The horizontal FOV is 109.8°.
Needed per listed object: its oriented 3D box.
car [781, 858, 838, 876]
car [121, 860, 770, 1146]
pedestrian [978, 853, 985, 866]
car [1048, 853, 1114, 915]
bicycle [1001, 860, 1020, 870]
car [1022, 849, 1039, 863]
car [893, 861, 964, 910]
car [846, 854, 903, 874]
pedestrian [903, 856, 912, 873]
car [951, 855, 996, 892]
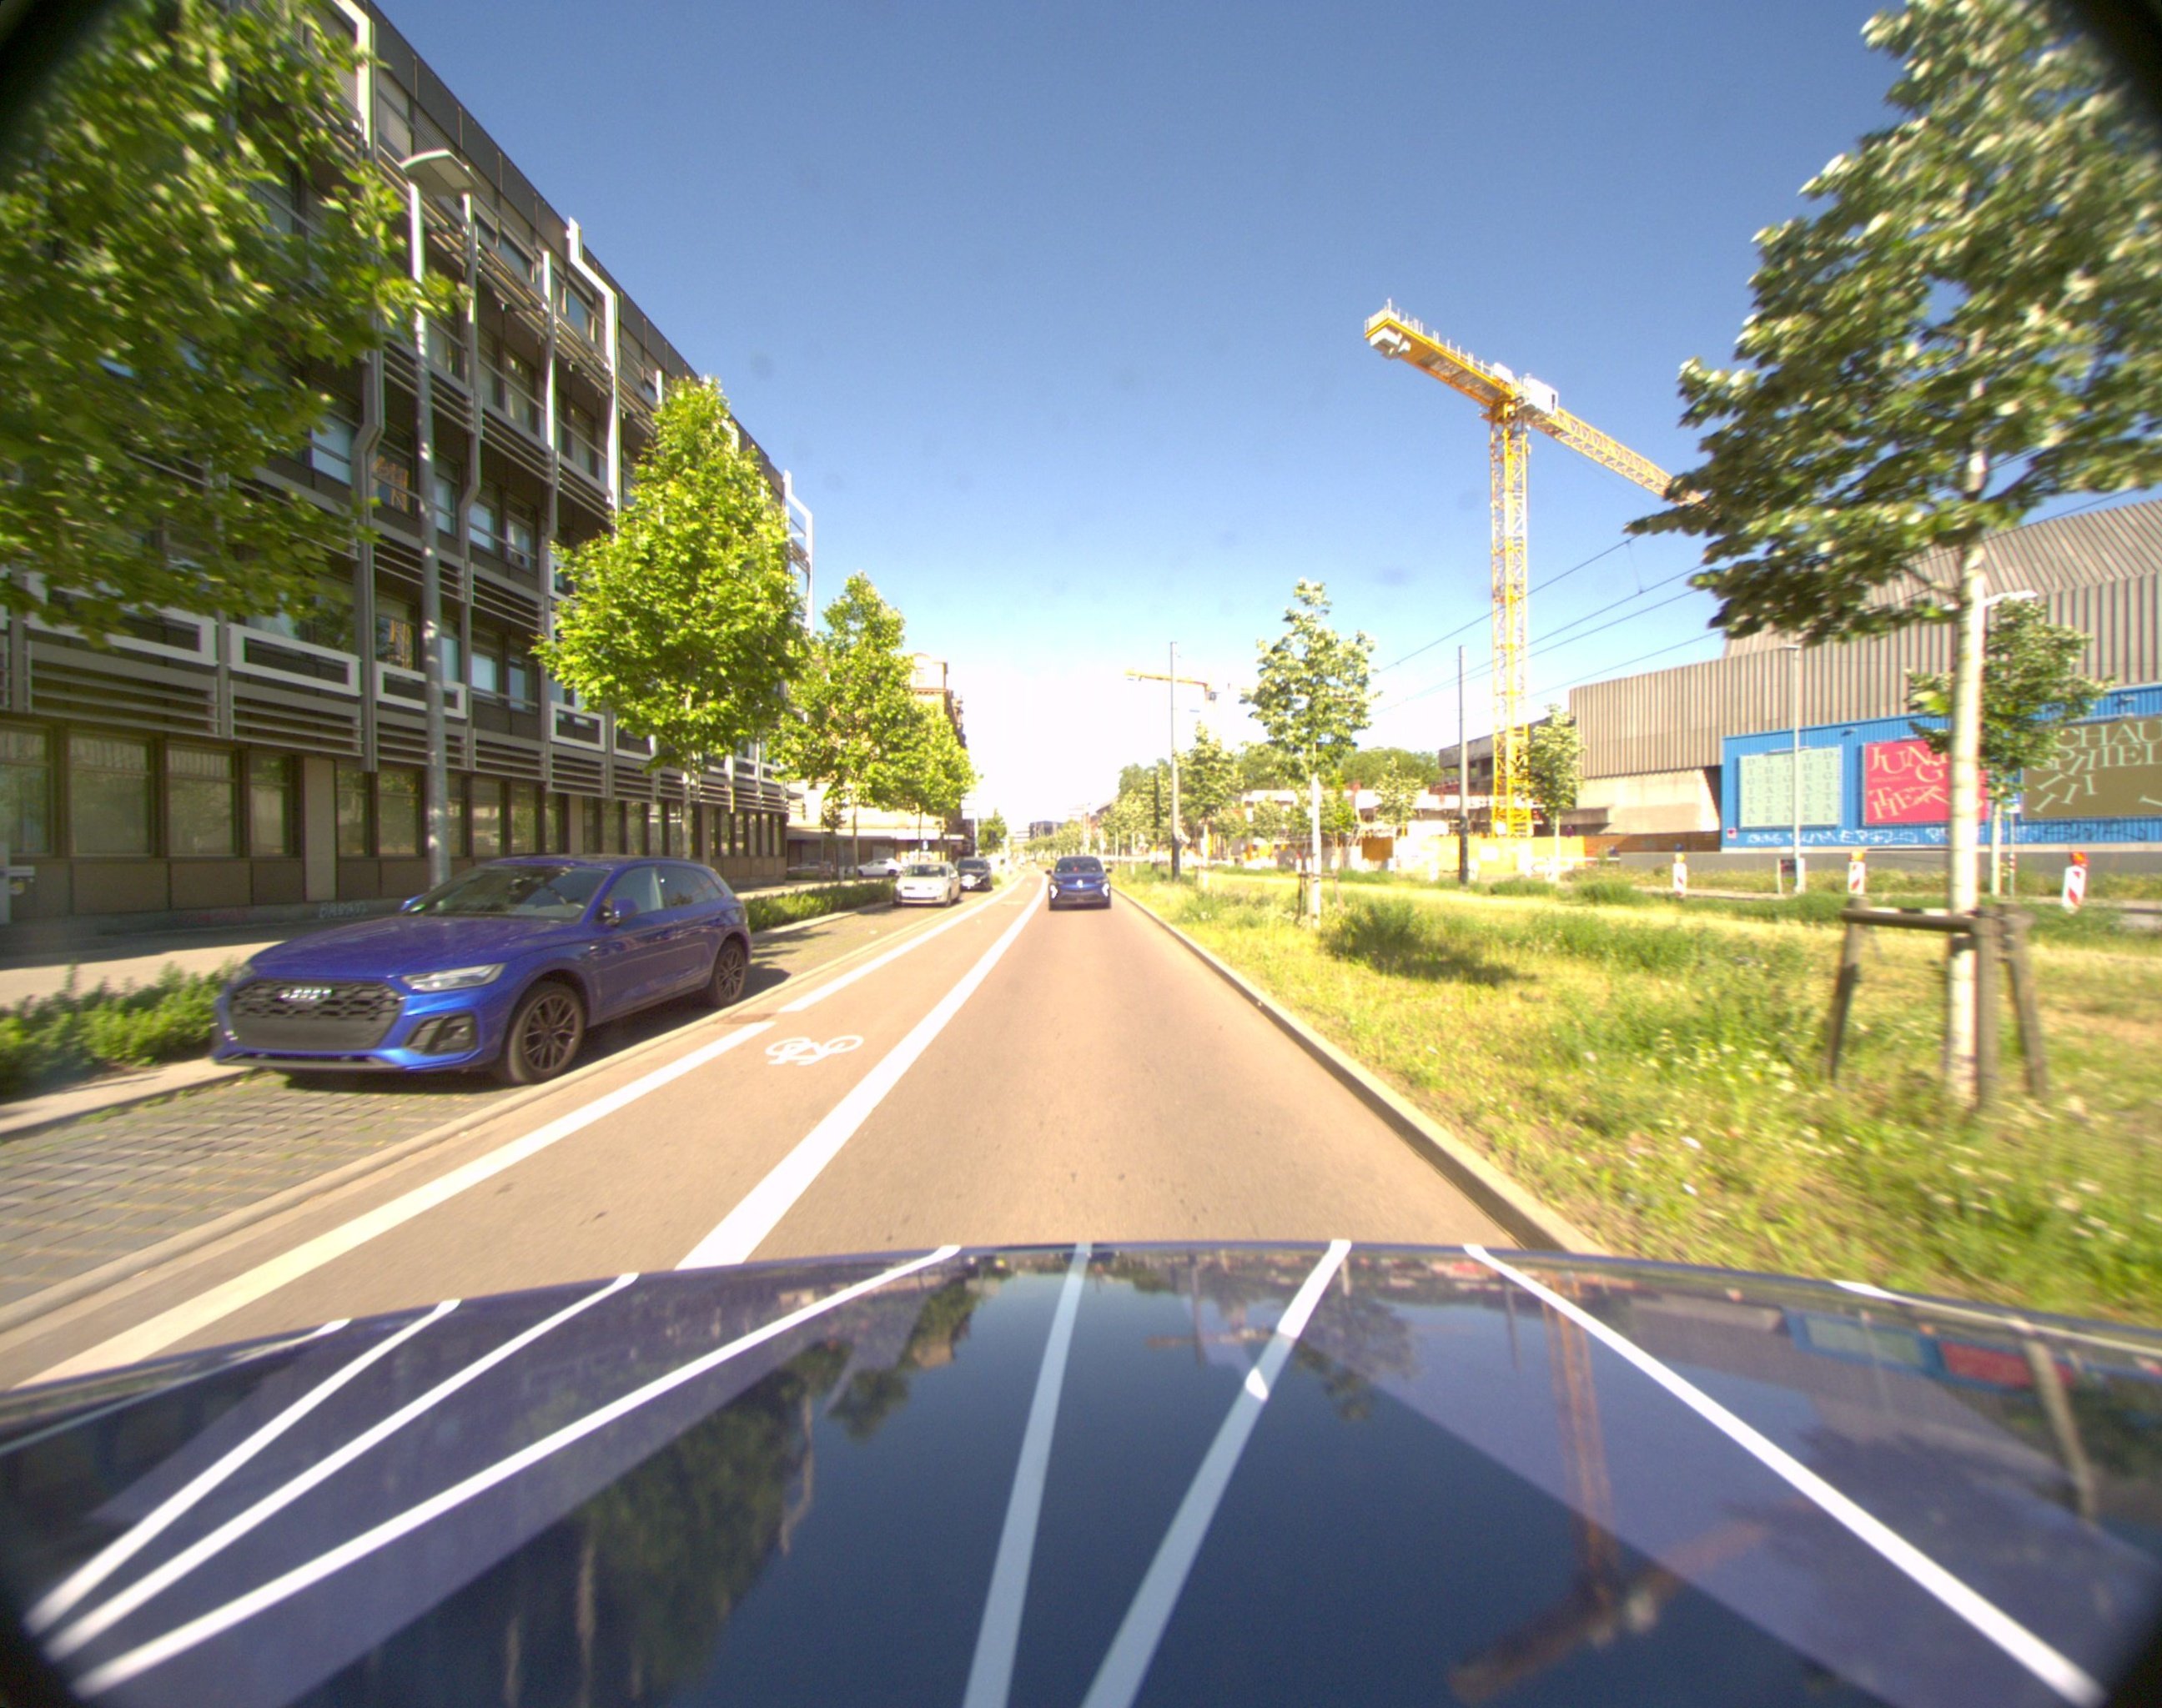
[{"bbox_3d":[-22.004,1.061,61.779,4.193,1.386,1.556,-1,-1,-13],"label":"car"},{"bbox_3d":[-4.809,0.914,6.979,1.854,1.647,4.848,1,0,1],"label":"car"},{"bbox_3d":[-11.988,0.629,91.381,0.753,1.575,0.808,1,0,-5],"label":"pedestrian"},{"bbox_3d":[0.062,0.848,23.232,1.749,1.613,4.153,-4,0,2],"label":"car"},{"bbox_3d":[-7.748,1.225,83.522,2.055,1.113,0.602,1,1,-5],"label":"bicycle"},{"bbox_3d":[-7.049,0.264,106.678,1.822,1.783,4.000,-3,1,4],"label":"car"},{"bbox_3d":[-4.976,0.981,25.277,1.622,1.456,4.154,1,0,-1],"label":"car"},{"bbox_3d":[-17.051,0.817,62.941,4.410,1.535,1.851,-1,0,-13],"label":"car"},{"bbox_3d":[-14.754,0.883,64.526,0.683,1.442,0.543,-1,1,-10],"label":"pedestrian"},{"bbox_3d":[-5.162,0.895,36.990,1.752,1.649,4.468,-1,0,-3],"label":"car"}]
